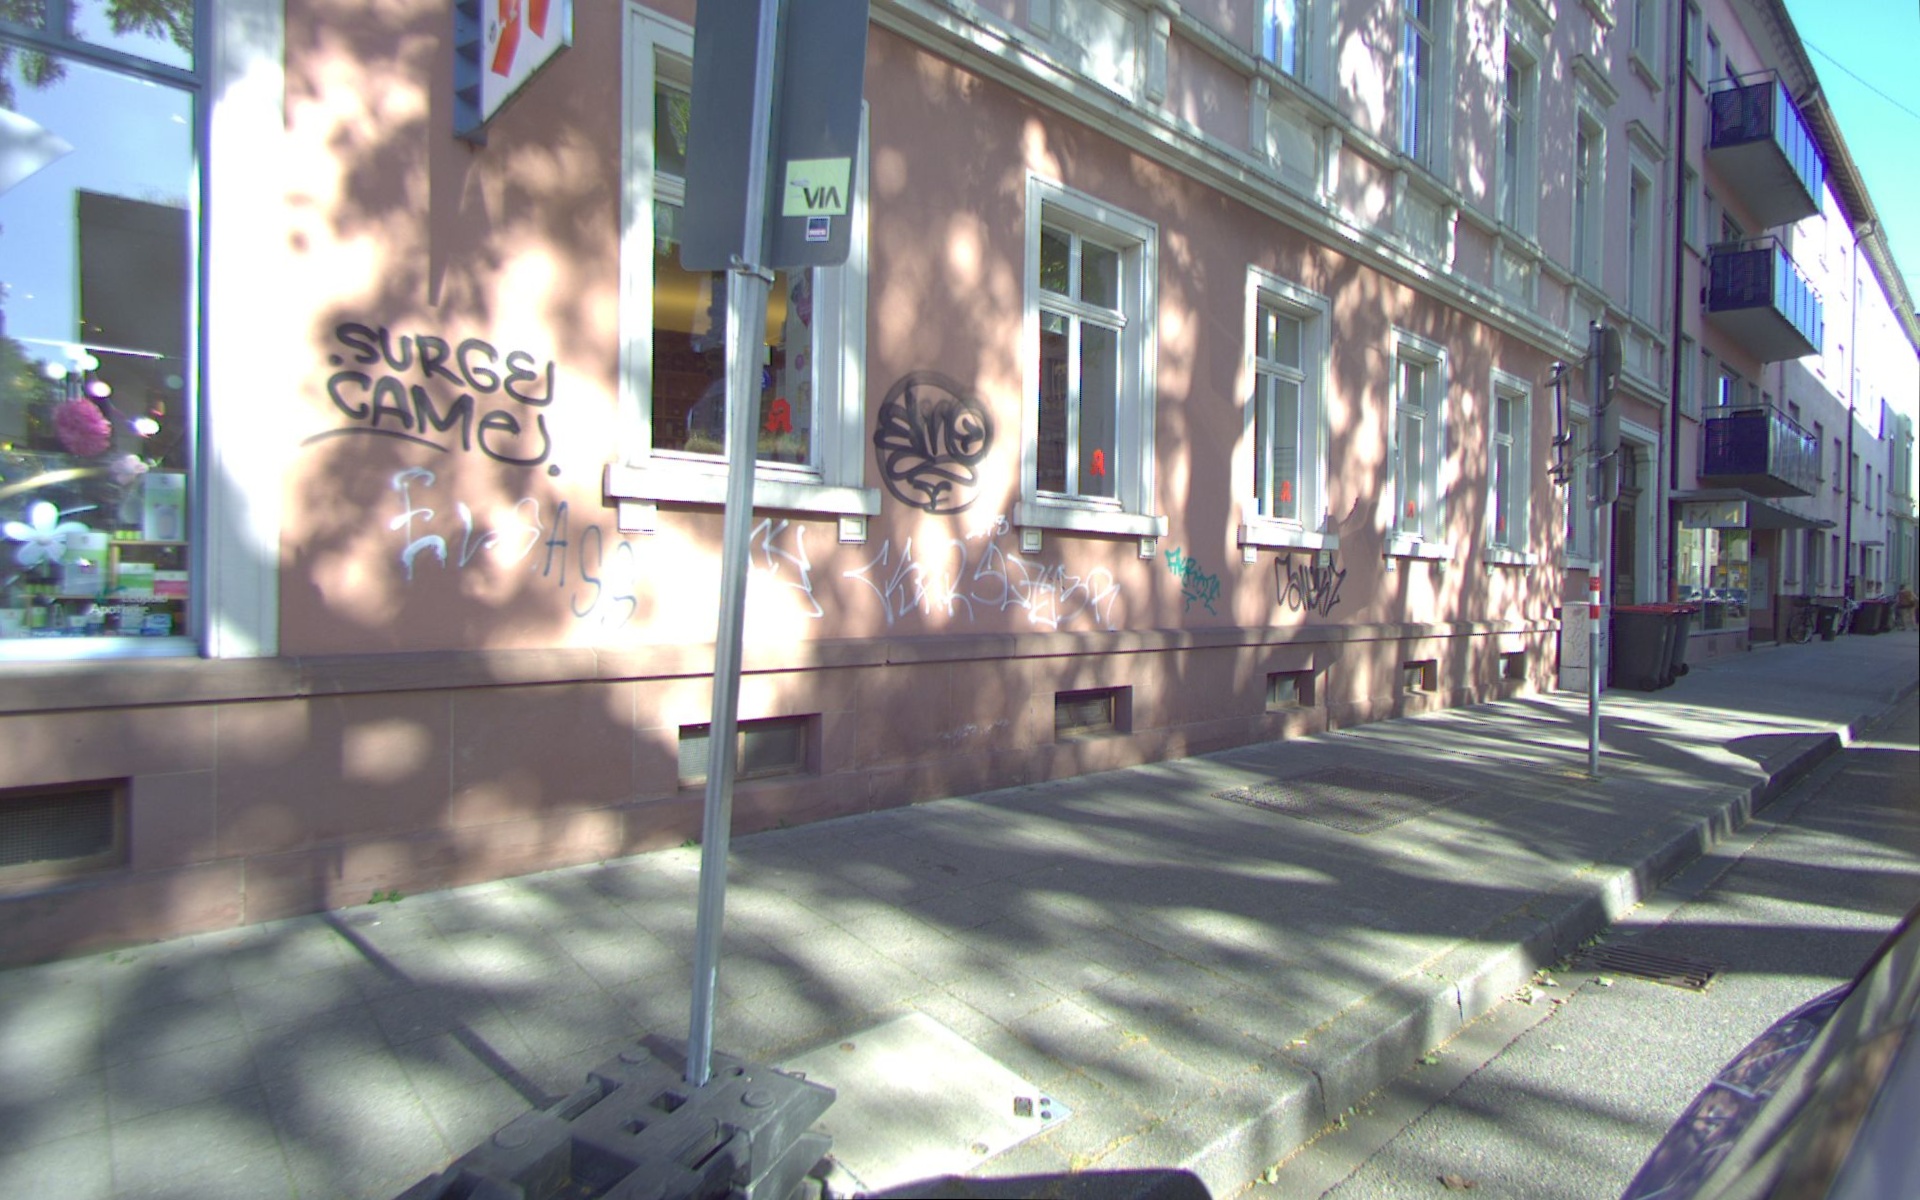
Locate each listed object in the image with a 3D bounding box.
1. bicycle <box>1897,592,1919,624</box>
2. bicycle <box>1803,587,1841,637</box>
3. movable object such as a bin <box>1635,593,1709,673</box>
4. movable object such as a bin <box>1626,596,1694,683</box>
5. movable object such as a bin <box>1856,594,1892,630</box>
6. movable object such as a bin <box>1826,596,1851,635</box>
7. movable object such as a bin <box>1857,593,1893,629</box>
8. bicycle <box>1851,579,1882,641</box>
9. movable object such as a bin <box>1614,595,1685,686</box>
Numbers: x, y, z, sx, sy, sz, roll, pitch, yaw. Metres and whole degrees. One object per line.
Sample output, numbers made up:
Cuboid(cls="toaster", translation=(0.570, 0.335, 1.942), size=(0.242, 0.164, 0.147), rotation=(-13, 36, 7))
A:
Cuboid(cls="bicycle", translation=(33.776, 0.276, 35.969), size=(1.899, 1.109, 0.489), rotation=(0, 1, -41))
Cuboid(cls="bicycle", translation=(20.508, 0.268, 24.067), size=(1.989, 1.165, 0.402), rotation=(0, 1, -41))
Cuboid(cls="movable object such as a bin", translation=(10.498, 0.473, 14.923), size=(0.608, 1.097, 0.717), rotation=(0, 4, -43))
Cuboid(cls="movable object such as a bin", translation=(9.293, 0.508, 13.433), size=(0.601, 1.071, 0.570), rotation=(0, 4, -43))
Cuboid(cls="movable object such as a bin", translation=(27.508, 0.345, 30.465), size=(0.537, 1.014, 0.716), rotation=(0, 4, -43))
Cuboid(cls="movable object such as a bin", translation=(22.456, 0.399, 25.871), size=(0.297, 0.951, 0.415), rotation=(0, 4, -43))
Cuboid(cls="movable object such as a bin", translation=(27.918, 0.332, 30.877), size=(0.537, 1.014, 0.716), rotation=(0, 4, -43))
Cuboid(cls="bicycle", translation=(26.217, 0.270, 29.270), size=(2.070, 1.757, 0.402), rotation=(0, 1, -41))
Cuboid(cls="movable object such as a bin", translation=(8.859, 0.500, 13.008), size=(0.643, 1.097, 0.570), rotation=(0, 4, -43))
